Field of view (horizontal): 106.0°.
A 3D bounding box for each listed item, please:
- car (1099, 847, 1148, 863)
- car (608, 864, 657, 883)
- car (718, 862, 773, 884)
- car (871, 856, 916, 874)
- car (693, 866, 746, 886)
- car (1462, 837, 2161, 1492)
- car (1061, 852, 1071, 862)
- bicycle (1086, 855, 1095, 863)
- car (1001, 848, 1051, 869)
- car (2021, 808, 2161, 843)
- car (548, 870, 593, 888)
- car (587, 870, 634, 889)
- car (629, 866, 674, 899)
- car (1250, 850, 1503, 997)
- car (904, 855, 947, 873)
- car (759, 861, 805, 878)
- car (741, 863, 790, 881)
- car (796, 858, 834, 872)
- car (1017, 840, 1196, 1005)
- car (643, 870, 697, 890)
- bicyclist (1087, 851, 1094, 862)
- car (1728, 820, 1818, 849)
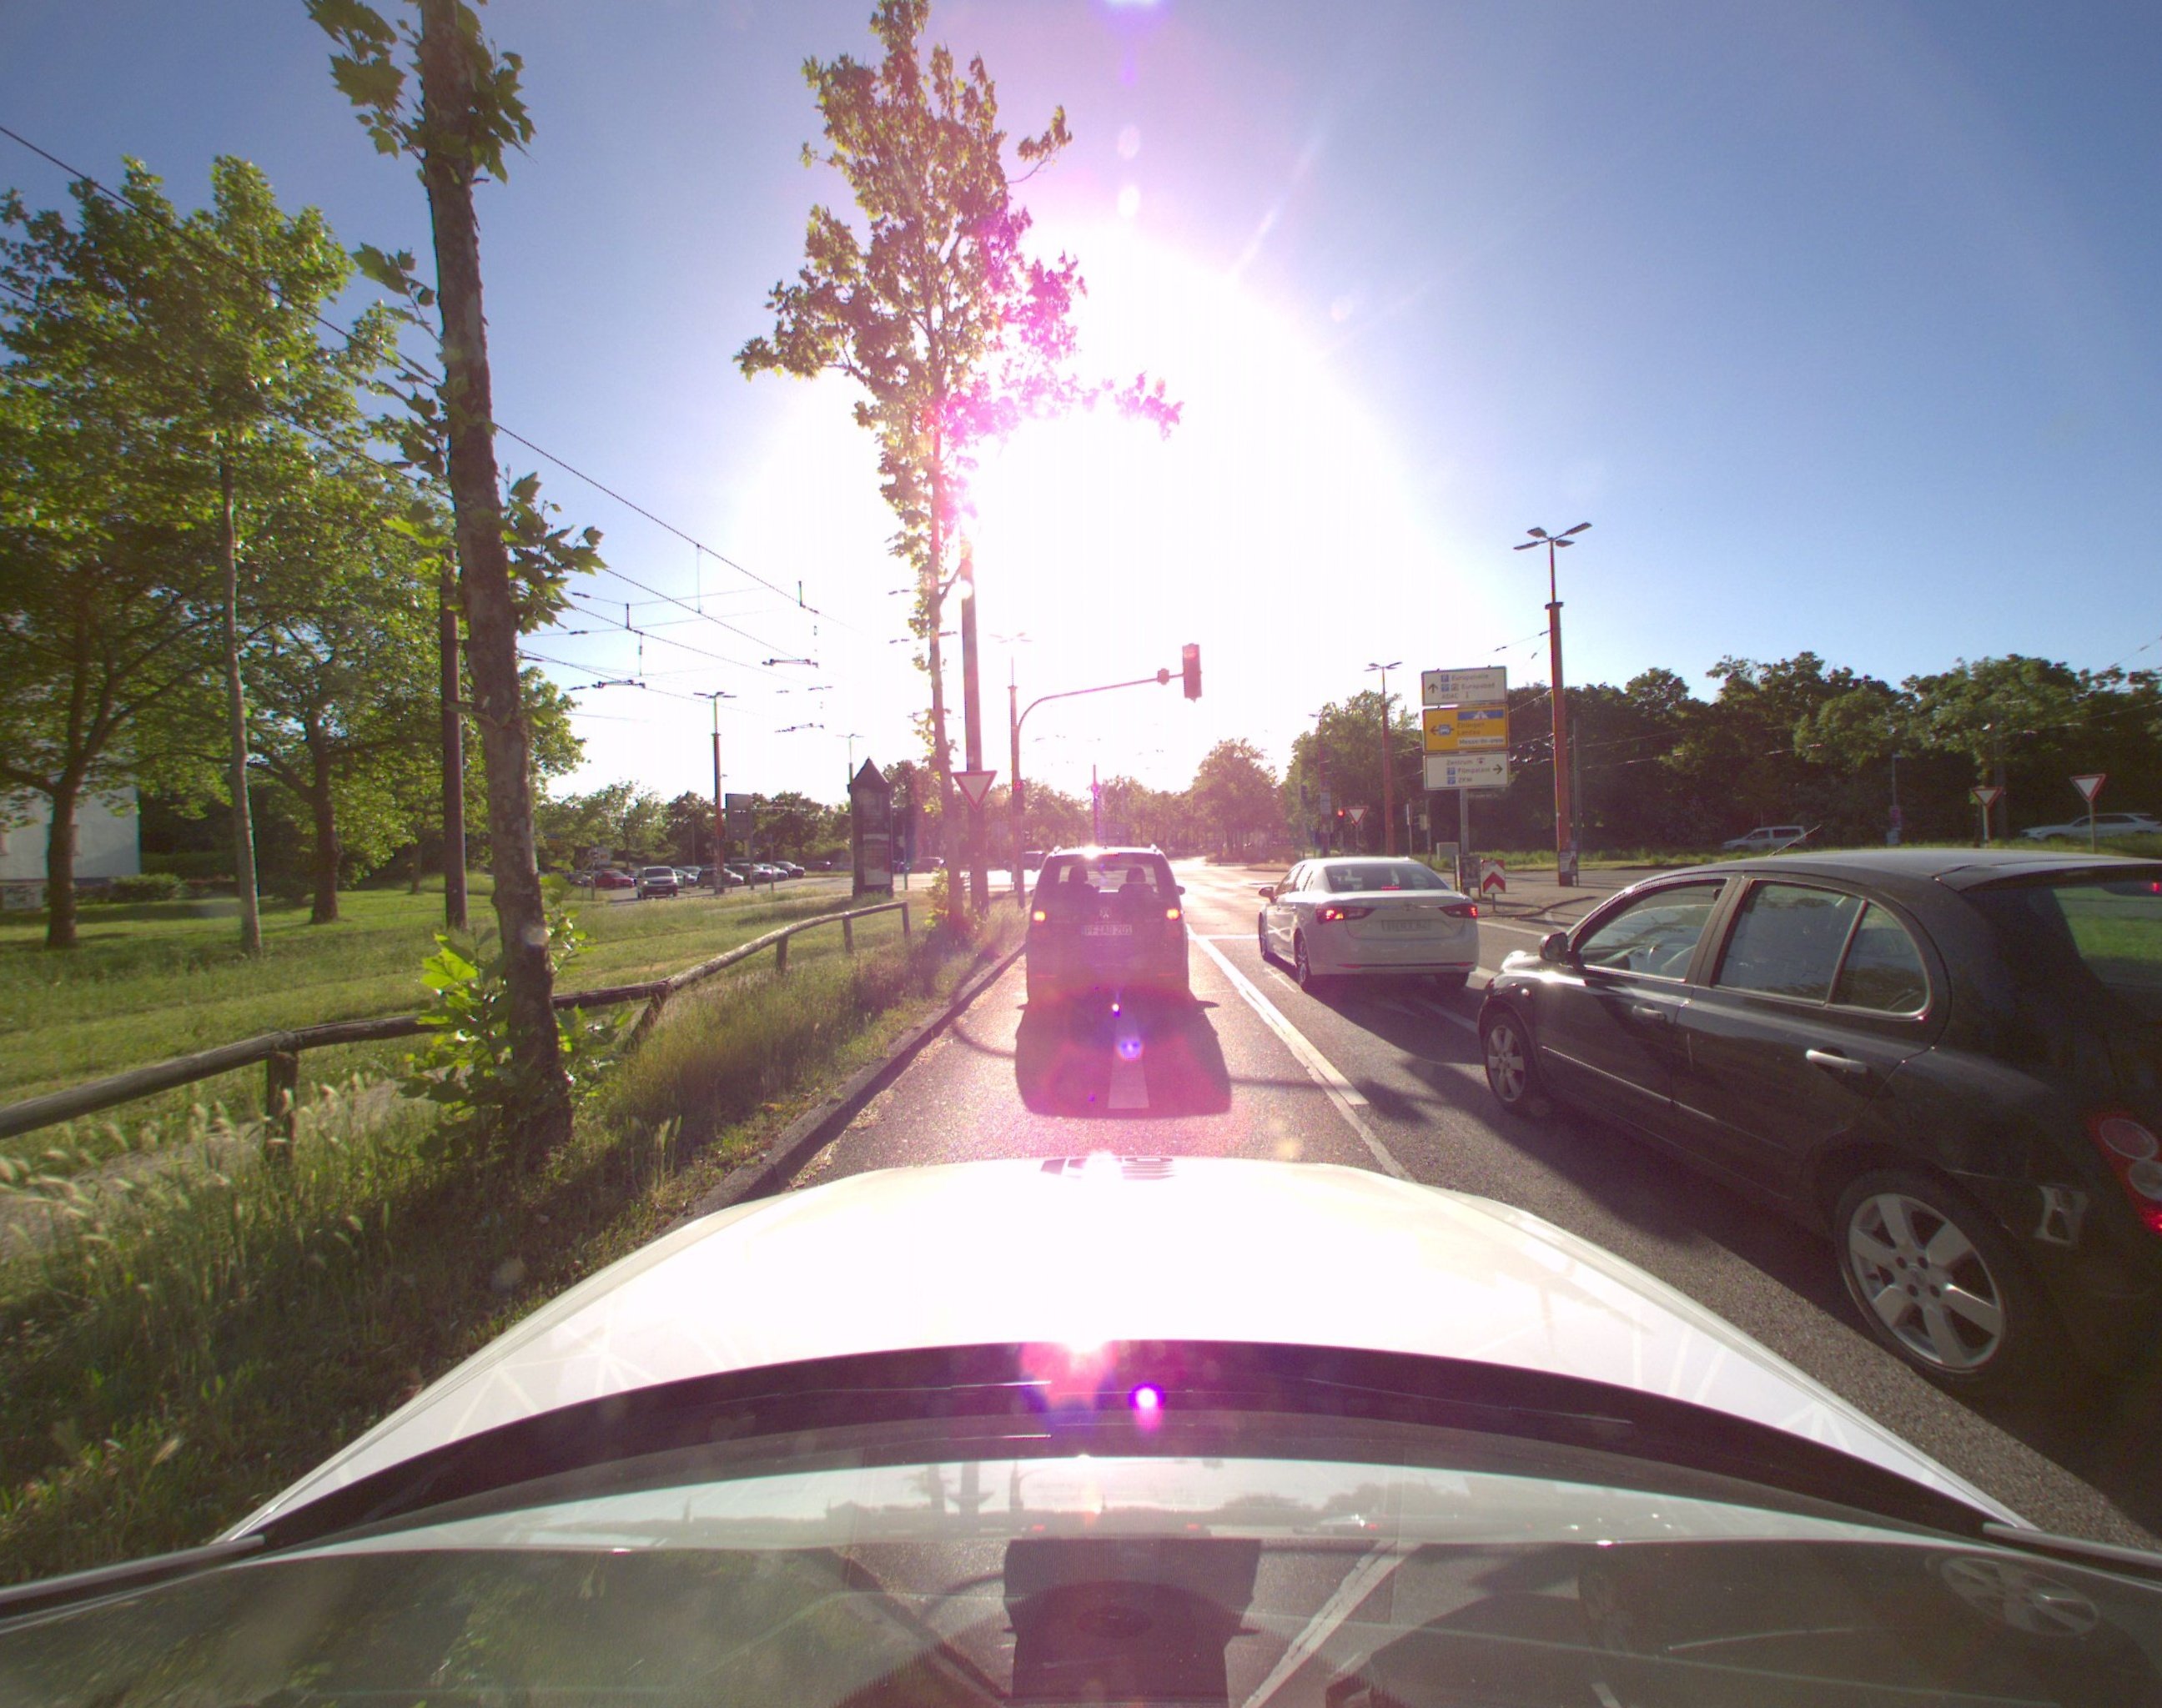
[{"bbox_3d":[3.882,0.121,74.206,4.080,1.403,1.666,-1,0,27],"label":"car"},{"bbox_3d":[-40.463,1.724,73.445,4.583,1.647,1.767,-1,0,32],"label":"car"},{"bbox_3d":[-26.934,1.513,65.364,4.583,1.647,1.667,-1,0,32],"label":"car"},{"bbox_3d":[-18.833,1.109,81.734,4.081,1.791,1.809,-1,0,26],"label":"car"},{"bbox_3d":[-27.339,1.692,61.582,3.793,1.441,1.667,-1,0,29],"label":"car"},{"bbox_3d":[3.169,0.691,3.502,1.570,1.440,3.443,0,-1,2],"label":"car"},{"bbox_3d":[-2.403,0.465,130.723,1.646,1.403,4.131,-1,0,0],"label":"car"},{"bbox_3d":[1.609,0.849,138.824,0.970,1.388,2.987,-1,0,9],"label":"bicycle"},{"bbox_3d":[-5.008,0.393,74.185,4.081,1.791,1.809,-1,0,26],"label":"car"},{"bbox_3d":[52.901,-1.457,42.563,4.616,1.625,1.667,-1,0,28],"label":"car"},{"bbox_3d":[-45.087,2.217,71.915,4.145,1.520,1.667,-1,0,32],"label":"car"},{"bbox_3d":[-39.450,2.146,68.264,4.145,1.520,1.667,-1,0,32],"label":"car"},{"bbox_3d":[-26.360,1.693,49.882,1.841,1.821,4.850,-1,0,-35],"label":"car"},{"bbox_3d":[3.362,0.705,10.201,1.792,1.440,4.329,0,-1,3],"label":"car"},{"bbox_3d":[-16.208,1.065,84.725,4.080,1.791,1.810,-1,0,28],"label":"car"},{"bbox_3d":[-26.738,1.379,72.825,4.102,1.415,1.553,-1,0,28],"label":"car"},{"bbox_3d":[-26.841,1.521,69.201,4.102,1.415,1.553,-1,0,28],"label":"car"},{"bbox_3d":[-29.966,1.275,91.800,4.080,1.471,1.667,-1,0,27],"label":"car"},{"bbox_3d":[0.355,0.685,10.096,1.731,1.602,4.329,0,-1,3],"label":"car"},{"bbox_3d":[-32.673,2.071,64.746,4.577,1.520,1.667,-1,0,32],"label":"car"},{"bbox_3d":[1.608,0.398,138.867,0.970,1.904,1.053,-1,0,9],"label":"bicyclist"},{"bbox_3d":[43.711,-1.212,51.574,4.079,1.750,1.667,-1,0,29],"label":"car"}]
